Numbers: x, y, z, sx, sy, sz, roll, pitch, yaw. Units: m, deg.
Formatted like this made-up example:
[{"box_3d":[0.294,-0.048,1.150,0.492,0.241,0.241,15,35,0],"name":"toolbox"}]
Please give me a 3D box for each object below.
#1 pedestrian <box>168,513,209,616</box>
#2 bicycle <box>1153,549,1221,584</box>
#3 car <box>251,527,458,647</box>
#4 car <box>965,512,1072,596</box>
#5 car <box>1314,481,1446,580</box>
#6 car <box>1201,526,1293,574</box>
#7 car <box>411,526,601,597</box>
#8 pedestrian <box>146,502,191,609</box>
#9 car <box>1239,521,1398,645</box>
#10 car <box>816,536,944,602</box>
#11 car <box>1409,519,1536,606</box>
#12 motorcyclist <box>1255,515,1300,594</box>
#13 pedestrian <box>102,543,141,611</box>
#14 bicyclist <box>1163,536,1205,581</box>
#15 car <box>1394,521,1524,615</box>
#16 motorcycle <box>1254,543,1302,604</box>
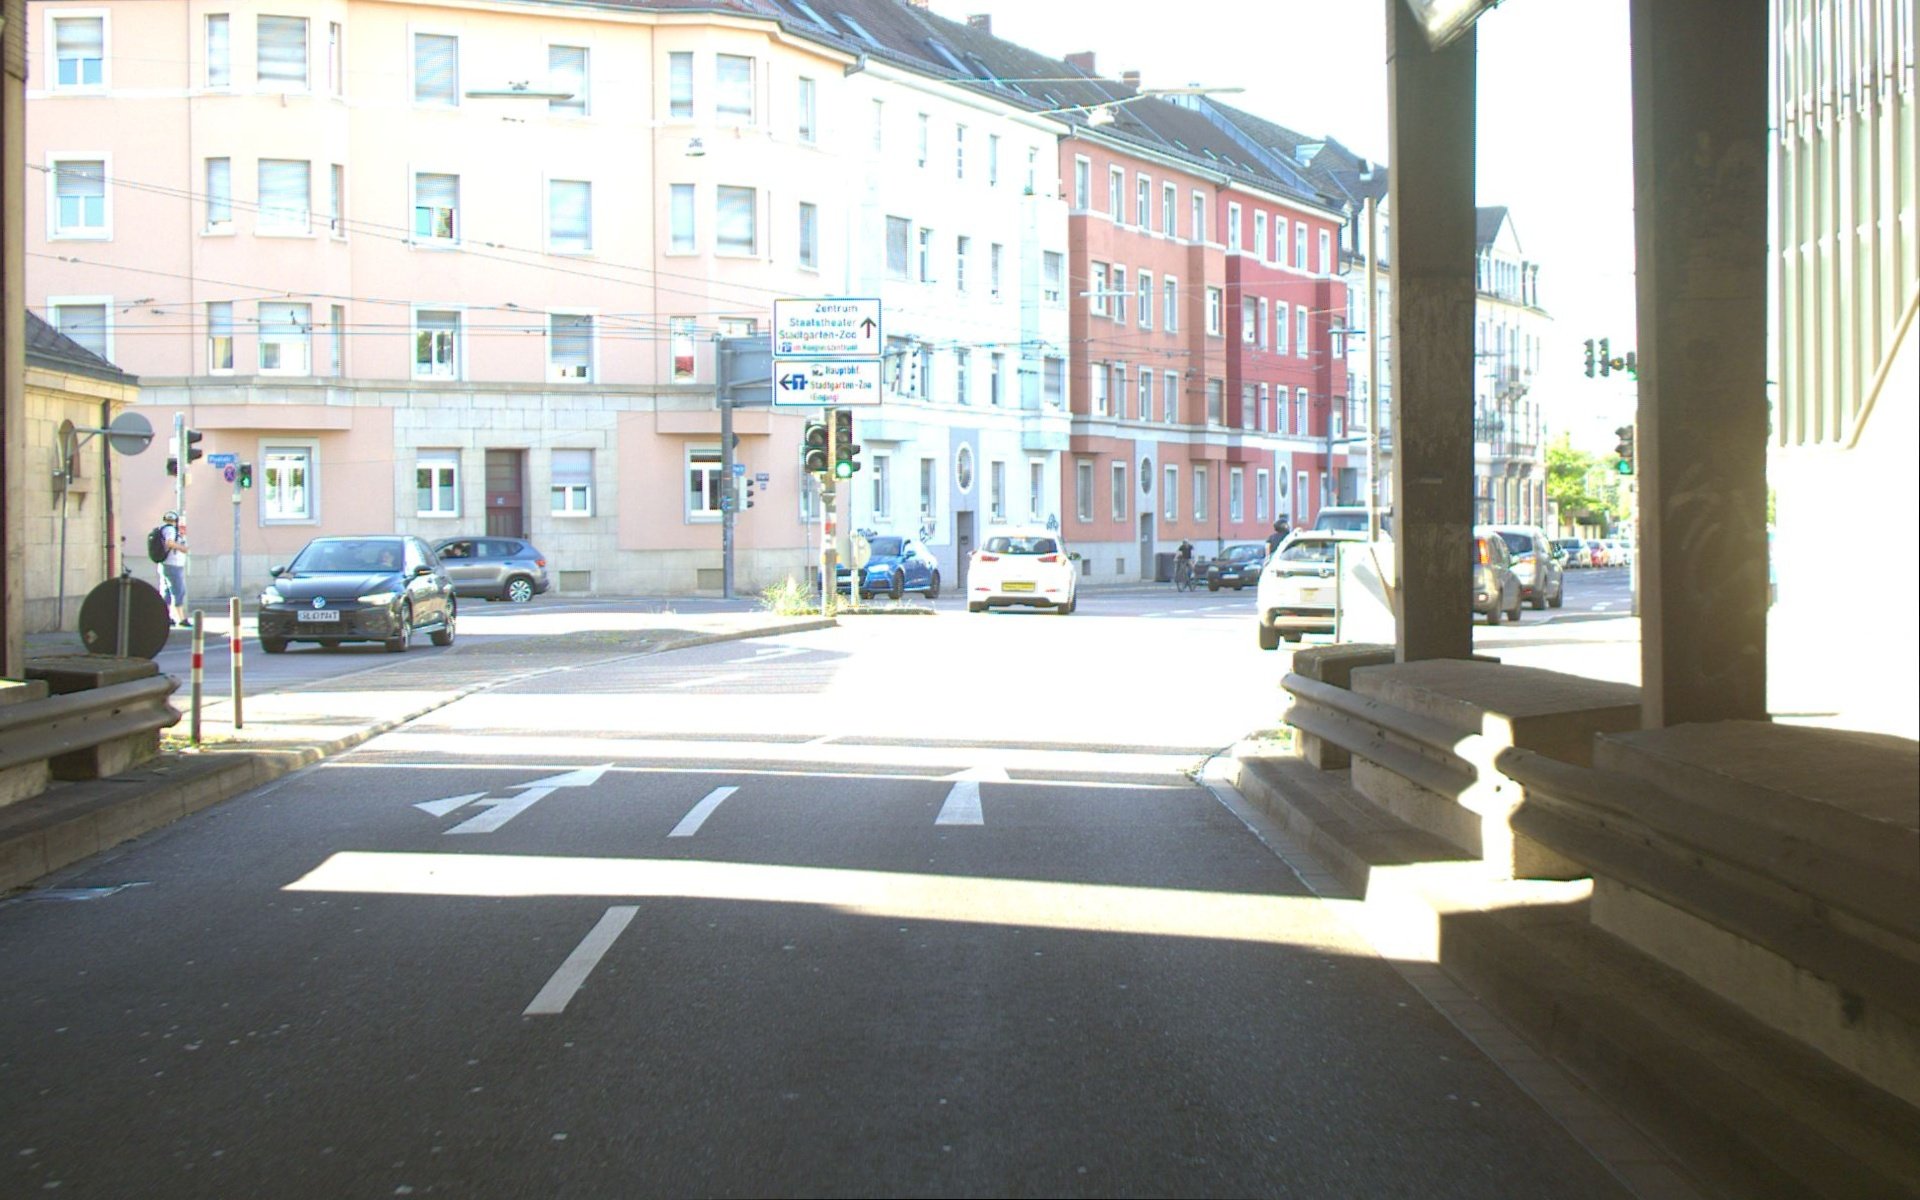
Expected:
[{"box_3d":[-12.276,-0.569,54.697,0.487,1.634,0.625,-1,1,-27],"name":"pedestrian"},{"box_3d":[7.053,-1.042,106.477,0.935,1.052,3.350,0,1,25],"name":"bicycle"},{"box_3d":[-7.529,-0.197,43.136,1.752,1.400,4.415,0,1,1],"name":"car"},{"box_3d":[1.007,-0.802,59.457,1.786,1.389,4.105,0,1,1],"name":"car"},{"box_3d":[8.986,-1.479,73.248,2.173,2.002,4.805,0,1,14],"name":"car"},{"box_3d":[8.671,-1.517,103.506,1.825,1.421,4.324,0,1,18],"name":"car"},{"box_3d":[-10.354,-0.888,78.423,3.867,1.568,1.931,-1,1,-28],"name":"car"},{"box_3d":[-12.100,-0.683,52.561,0.513,1.634,0.625,-1,1,-27],"name":"pedestrian"},{"box_3d":[4.724,-0.260,44.910,1.948,1.523,4.089,0,1,8],"name":"car"},{"box_3d":[-1.719,-0.698,75.417,1.811,1.386,4.245,0,2,13],"name":"car"},{"box_3d":[9.720,-0.725,64.980,1.815,1.576,3.997,0,1,17],"name":"car"},{"box_3d":[5.816,-0.833,62.877,0.777,1.418,0.891,0,1,8],"name":"motorcyclist"},{"box_3d":[-19.604,-0.542,80.398,0.718,1.558,0.677,0,1,2],"name":"pedestrian"},{"box_3d":[6.931,-1.282,106.196,0.935,1.377,1.146,0,1,25],"name":"bicyclist"},{"box_3d":[8.276,-0.557,56.821,1.732,1.495,3.998,0,2,14],"name":"car"},{"box_3d":[5.832,-0.491,62.922,0.777,1.078,2.280,0,1,8],"name":"motorcycle"}]
